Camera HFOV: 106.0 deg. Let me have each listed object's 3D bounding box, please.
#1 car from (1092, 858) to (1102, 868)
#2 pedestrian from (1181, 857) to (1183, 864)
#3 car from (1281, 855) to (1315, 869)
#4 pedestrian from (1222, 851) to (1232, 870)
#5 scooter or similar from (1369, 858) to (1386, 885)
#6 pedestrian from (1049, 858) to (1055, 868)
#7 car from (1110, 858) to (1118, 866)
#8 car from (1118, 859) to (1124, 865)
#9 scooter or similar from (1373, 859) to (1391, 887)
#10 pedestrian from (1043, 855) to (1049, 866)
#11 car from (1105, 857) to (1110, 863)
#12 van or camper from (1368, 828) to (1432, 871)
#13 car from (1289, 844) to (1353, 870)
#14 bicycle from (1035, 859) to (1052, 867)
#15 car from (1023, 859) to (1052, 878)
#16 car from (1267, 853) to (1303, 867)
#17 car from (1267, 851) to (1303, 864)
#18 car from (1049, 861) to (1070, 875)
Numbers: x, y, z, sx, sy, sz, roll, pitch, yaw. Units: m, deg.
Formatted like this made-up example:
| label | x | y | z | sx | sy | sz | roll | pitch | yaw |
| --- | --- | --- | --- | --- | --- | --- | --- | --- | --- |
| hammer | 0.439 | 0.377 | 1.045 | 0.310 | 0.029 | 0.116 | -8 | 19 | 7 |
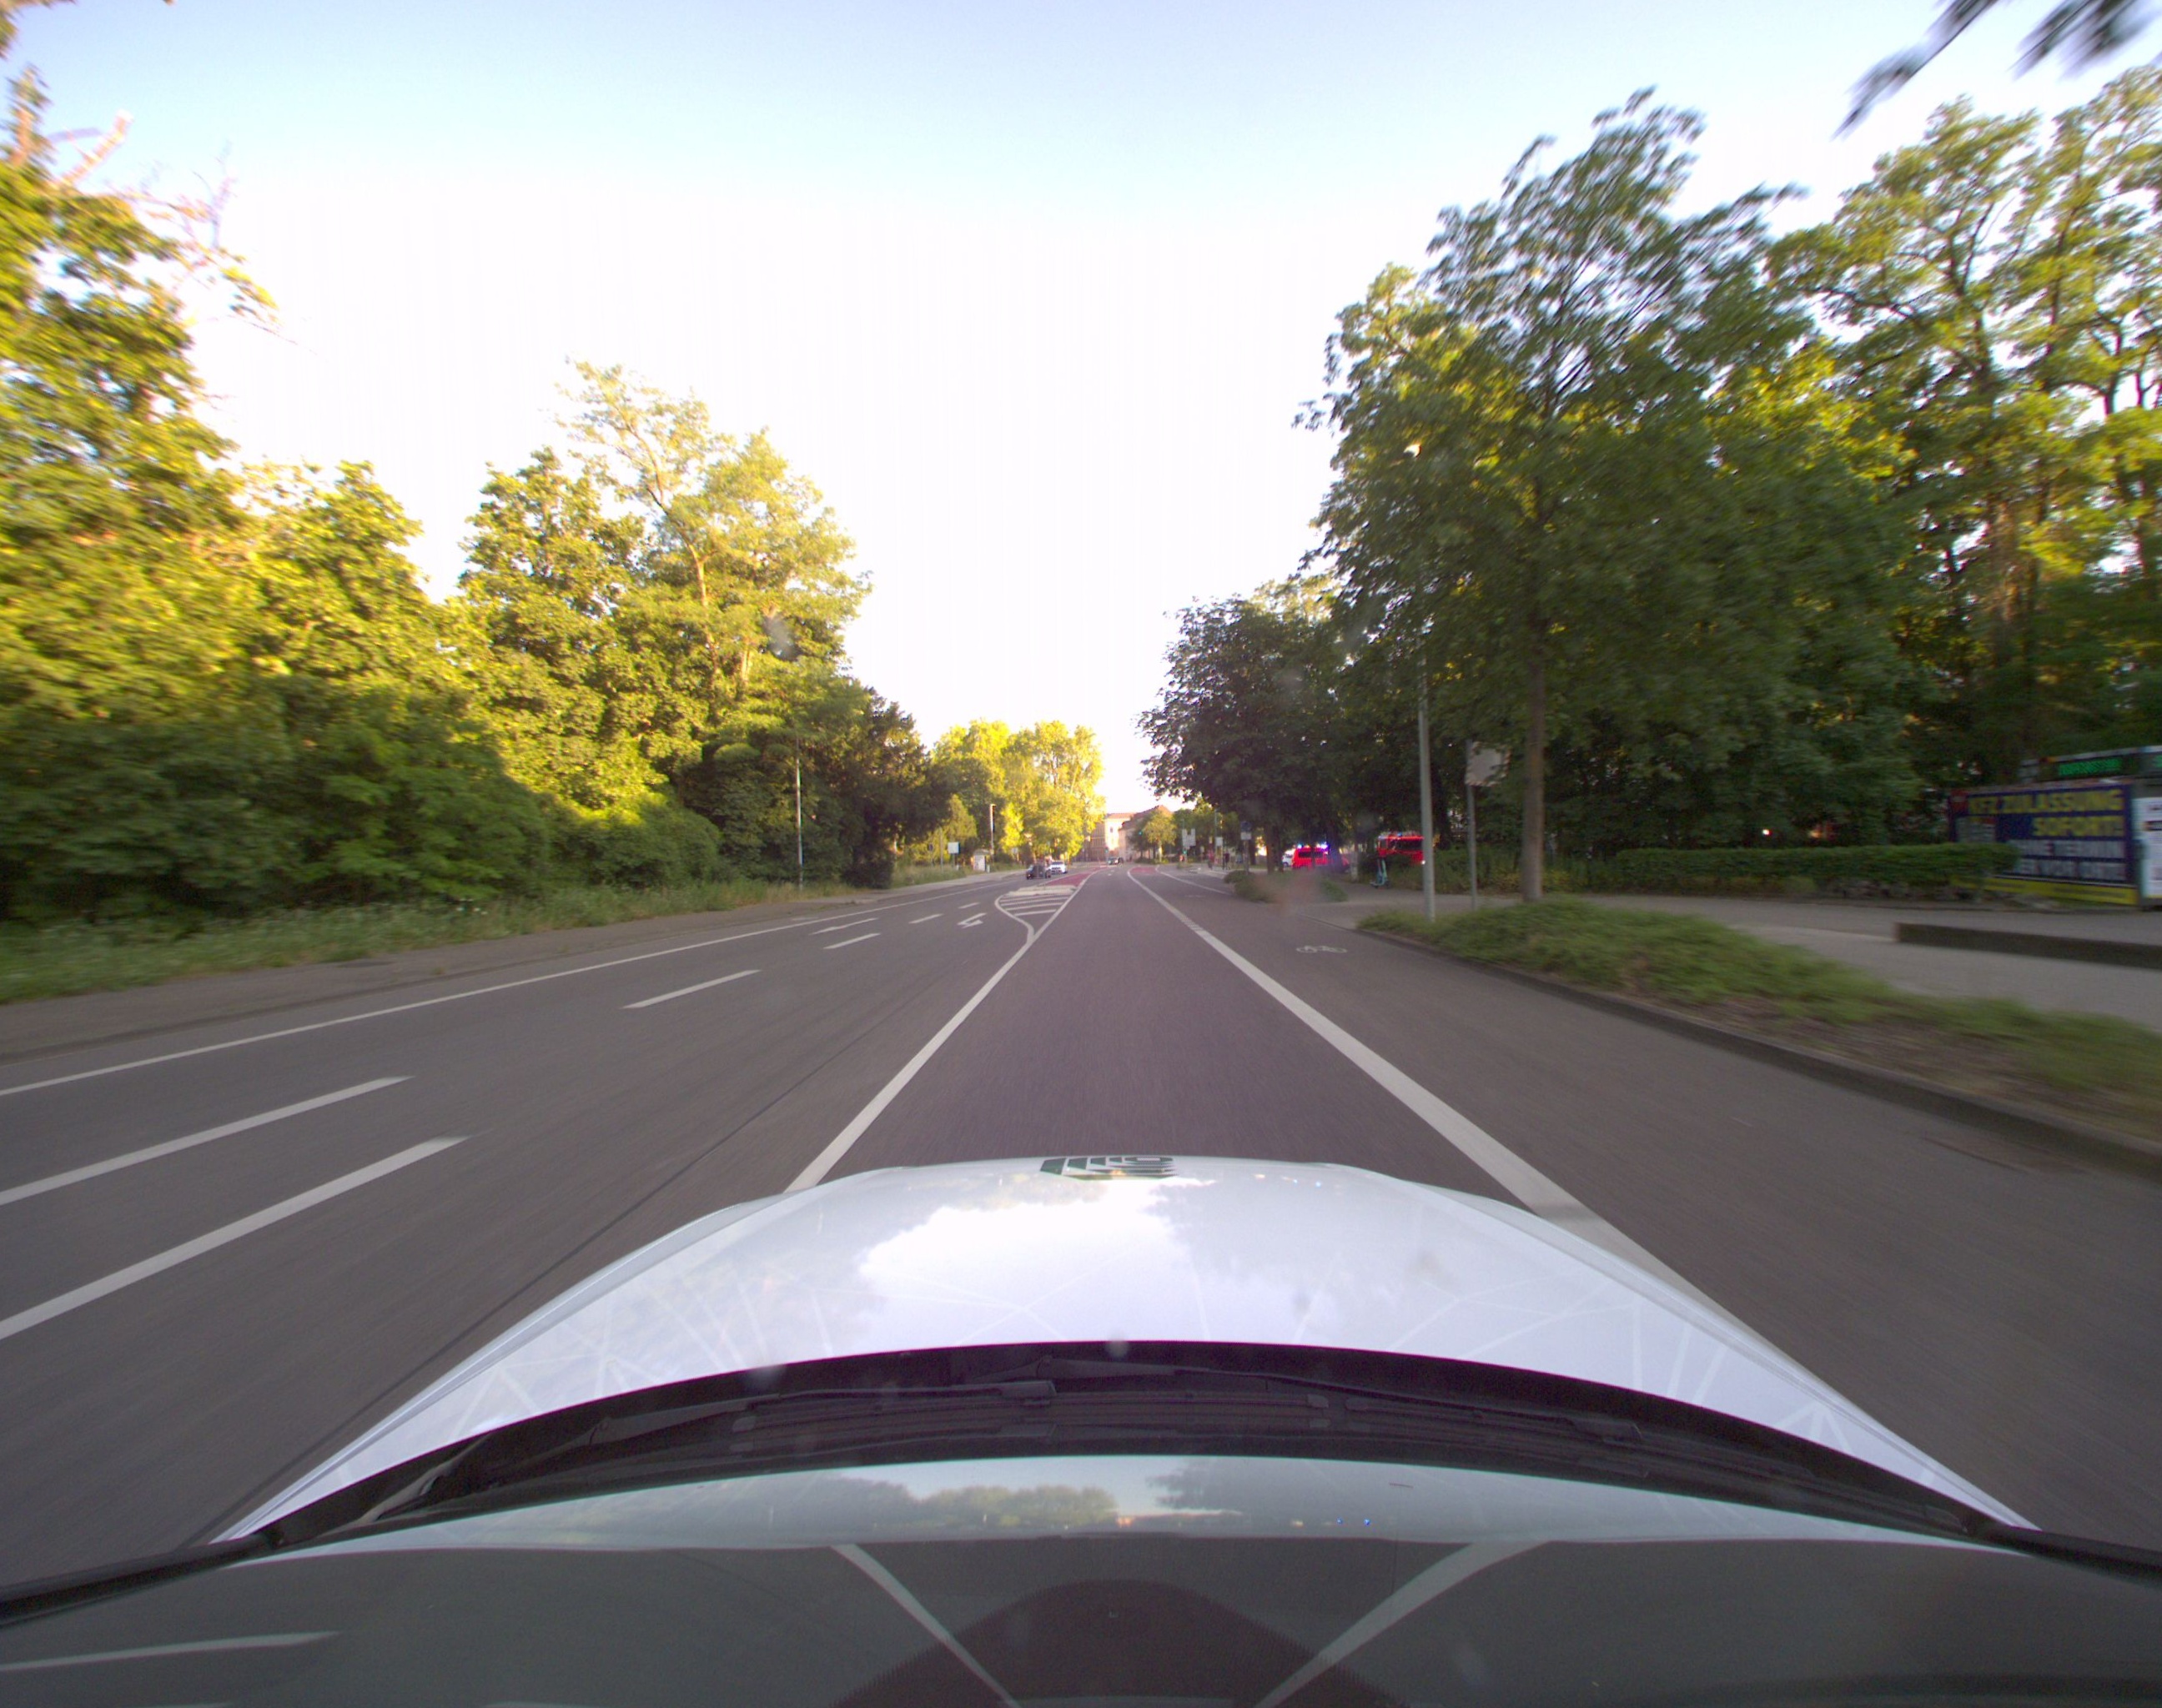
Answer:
| label | x | y | z | sx | sy | sz | roll | pitch | yaw |
| --- | --- | --- | --- | --- | --- | --- | --- | --- | --- |
| car | 2.443 | 1.372 | 123.935 | 1.487 | 1.486 | 3.493 | -2 | 0 | 3 |
| pedestrian | 19.728 | 1.281 | 158.663 | 0.388 | 1.238 | 0.404 | -2 | -1 | 2 |
| car | 25.697 | 0.946 | 96.651 | 3.751 | 1.590 | 1.720 | -2 | -1 | 9 |
| pedestrian | 13.436 | 0.585 | 74.929 | 0.766 | 1.740 | 0.732 | -2 | -1 | 2 |
| scooter or similar | 11.604 | 0.675 | 31.898 | 0.309 | 1.041 | 0.981 | -2 | -1 | 2 |
| pedestrian | -4.585 | 1.471 | 130.019 | 0.786 | 1.580 | 0.748 | 0 | 0 | 11 |
| car | 6.817 | 1.682 | 168.848 | 1.487 | 1.486 | 3.493 | -2 | -1 | 3 |
| car | 10.592 | 2.015 | 213.884 | 1.487 | 1.486 | 3.493 | -2 | -1 | 3 |
| scooter or similar | 11.242 | 0.701 | 30.440 | 0.309 | 1.041 | 0.981 | -2 | -1 | 2 |
| pedestrian | -5.344 | 0.954 | 123.467 | 0.786 | 1.580 | 0.748 | 0 | 0 | 11 |
| car | 7.330 | 1.641 | 224.376 | 1.487 | 1.486 | 3.493 | -2 | -1 | 3 |
| van or camper | 25.085 | -0.351 | 64.527 | 3.415 | 3.200 | 8.258 | 0 | 0 | 12 |
| car | 20.064 | 0.270 | 68.157 | 4.881 | 1.990 | 1.927 | -2 | -1 | 9 |
| bicycle | -5.685 | 1.350 | 123.522 | 2.446 | 1.195 | 0.759 | -2 | -1 | 11 |
| car | -3.589 | 1.189 | 67.865 | 1.789 | 1.453 | 4.132 | -2 | 0 | 4 |
| car | 26.497 | 0.799 | 105.962 | 4.433 | 1.590 | 1.720 | -2 | -1 | 9 |
| car | 27.390 | 0.508 | 109.402 | 4.433 | 1.590 | 1.720 | -2 | -1 | 9 |
| car | -2.298 | 1.483 | 86.821 | 1.789 | 1.453 | 4.132 | -2 | 0 | 4 |
